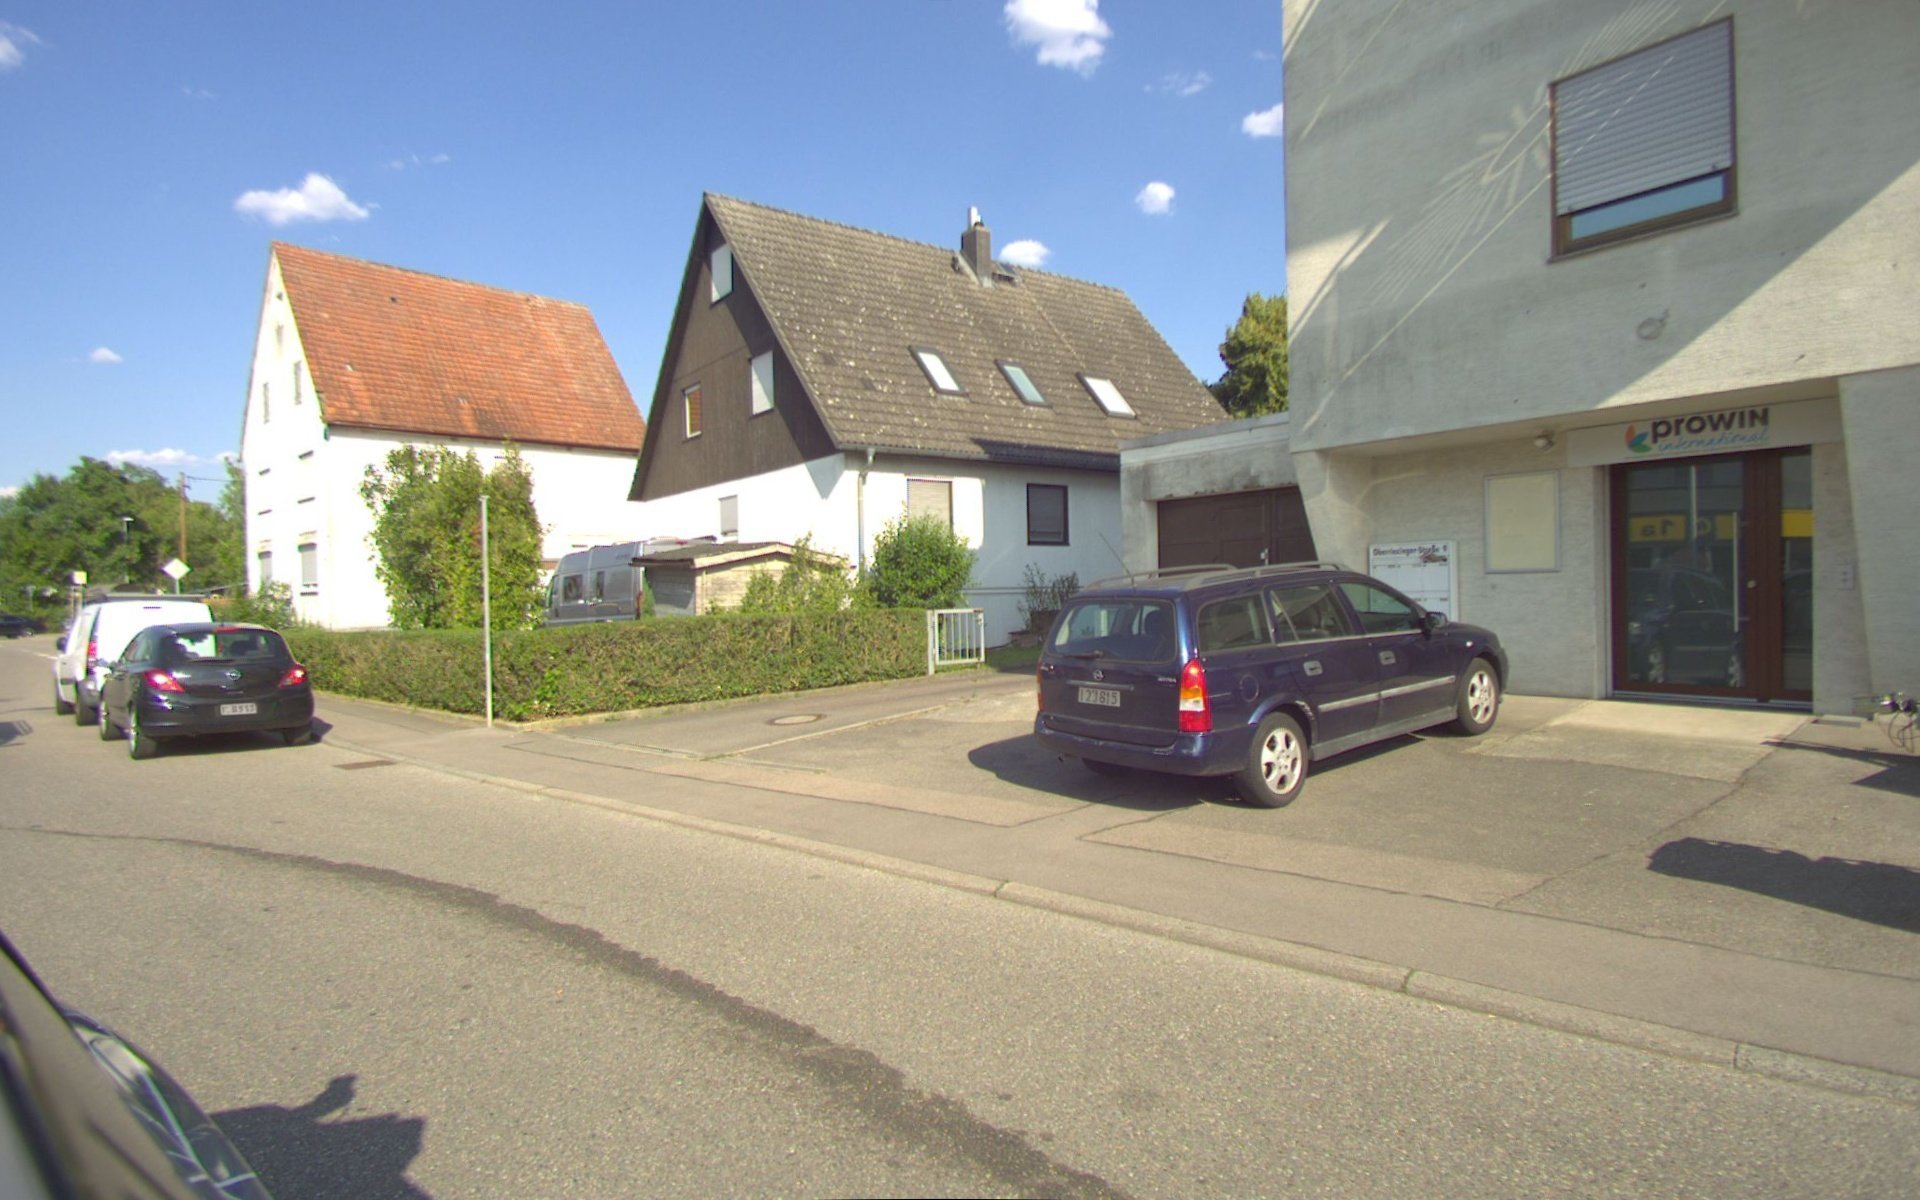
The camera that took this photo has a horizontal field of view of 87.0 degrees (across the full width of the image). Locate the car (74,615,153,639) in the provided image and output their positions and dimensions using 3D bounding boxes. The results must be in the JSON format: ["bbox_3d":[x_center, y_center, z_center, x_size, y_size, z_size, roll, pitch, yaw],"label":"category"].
[{"bbox_3d":[-58.738,1.867,70.314,1.837,1.503,4.271,-1,0,3],"label":"car"}]

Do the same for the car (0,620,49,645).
[{"bbox_3d":[-58.119,1.955,60.813,1.758,1.442,4.812,-1,0,20],"label":"car"}]

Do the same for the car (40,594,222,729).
[{"bbox_3d":[-13.295,0.898,16.141,4.192,1.887,1.698,-2,-1,43],"label":"car"}]

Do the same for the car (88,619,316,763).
[{"bbox_3d":[-9.401,0.996,12.445,3.835,1.462,1.654,-2,-1,44],"label":"car"}]

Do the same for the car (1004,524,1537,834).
[{"bbox_3d":[2.458,0.376,7.579,3.937,1.549,1.766,-7,3,-37],"label":"car"}]

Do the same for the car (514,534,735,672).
[{"bbox_3d":[-7.480,0.080,22.062,2.133,2.615,6.100,-3,1,-43],"label":"car"}]
